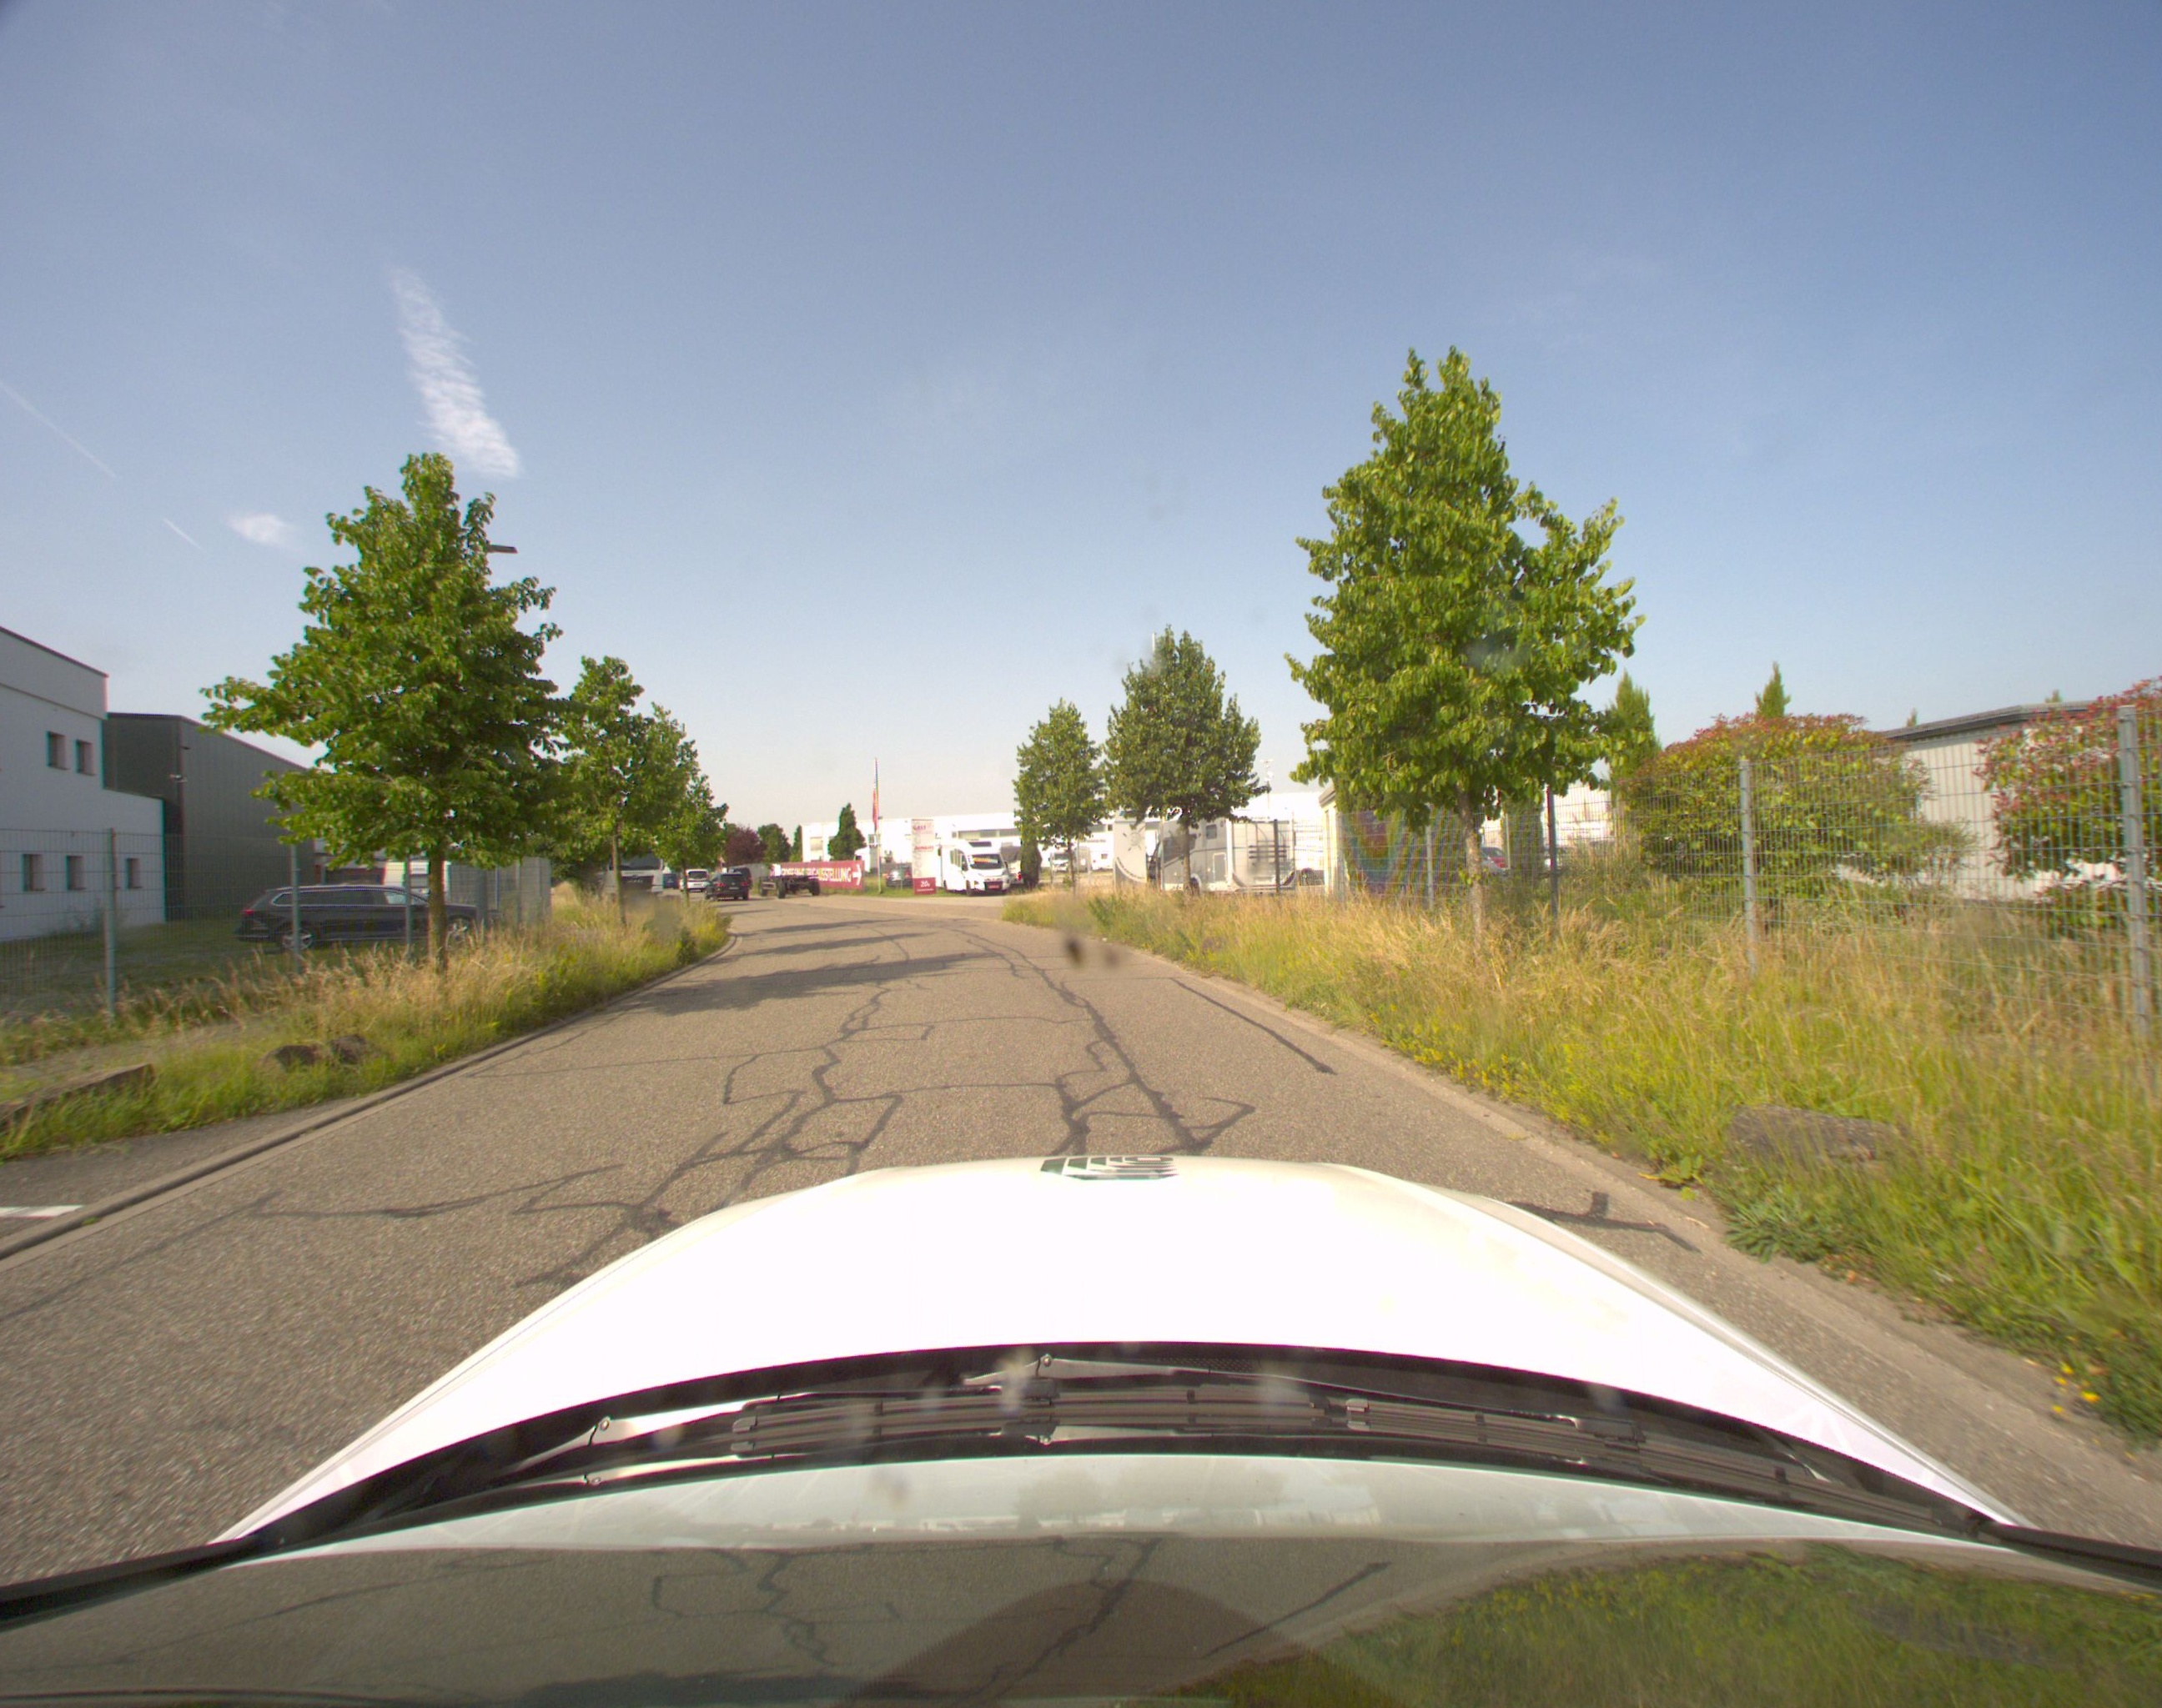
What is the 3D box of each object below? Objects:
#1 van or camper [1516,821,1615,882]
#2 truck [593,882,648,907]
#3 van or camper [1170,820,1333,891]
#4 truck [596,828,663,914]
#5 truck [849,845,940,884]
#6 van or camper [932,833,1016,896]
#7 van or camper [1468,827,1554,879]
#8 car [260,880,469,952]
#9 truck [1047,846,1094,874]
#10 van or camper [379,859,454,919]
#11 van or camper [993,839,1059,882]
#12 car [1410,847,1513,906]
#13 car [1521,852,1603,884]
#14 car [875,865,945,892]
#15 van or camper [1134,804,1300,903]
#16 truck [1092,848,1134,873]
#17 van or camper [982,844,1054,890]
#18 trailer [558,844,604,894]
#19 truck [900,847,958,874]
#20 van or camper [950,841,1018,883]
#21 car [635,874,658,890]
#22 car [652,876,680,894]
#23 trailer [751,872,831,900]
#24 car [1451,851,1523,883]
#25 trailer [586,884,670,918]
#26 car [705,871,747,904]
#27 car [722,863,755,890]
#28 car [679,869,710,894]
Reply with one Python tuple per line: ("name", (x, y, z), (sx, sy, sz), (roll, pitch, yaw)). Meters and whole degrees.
("van or camper", (25.315, -0.067, 42.931), (2.305, 2.864, 6.629), (-2, -1, 11))
("truck", (-28.629, 2.433, 50.494), (2.542, 1.265, 6.459), (-2, 0, -33))
("van or camper", (7.896, 0.097, 38.391), (7.220, 3.032, 2.590), (-2, -1, 6))
("truck", (-24.317, 0.933, 43.527), (2.643, 3.929, 12.789), (-1, -1, -31))
("truck", (-20.116, 1.155, 87.859), (9.225, 3.972, 2.466), (-2, 0, 10))
("van or camper", (-5.651, 0.533, 42.121), (2.342, 2.943, 6.914), (-2, 0, -24))
("van or camper", (23.087, -0.018, 44.098), (2.204, 2.525, 6.629), (-2, -1, 11))
("car", (-16.592, 1.386, 19.101), (3.518, 1.454, 1.579), (0, -1, -35))
("truck", (-0.889, 0.546, 77.118), (2.433, 2.471, 8.032), (-2, 0, 14))
("van or camper", (-30.891, 1.581, 37.998), (2.323, 2.560, 4.899), (-2, -1, -35))
("van or camper", (-4.183, 0.456, 64.207), (2.929, 3.084, 7.997), (-2, 0, 12))
("car", (11.407, 0.633, 24.712), (1.713, 1.643, 4.009), (0, 0, 8))
("car", (21.461, 0.601, 36.527), (1.701, 1.379, 4.008), (0, 0, 7))
("car", (-10.639, 1.517, 50.917), (2.145, 1.476, 4.024), (-2, 0, 28))
("van or camper", (4.258, 0.039, 27.351), (2.355, 2.848, 7.296), (-1, -1, -18))
("truck", (3.159, 0.569, 78.950), (2.433, 2.265, 8.032), (-2, 0, 14))
("van or camper", (-3.724, 0.701, 49.799), (2.466, 2.559, 6.649), (-2, 0, 13))
("trailer", (-48.791, 1.507, 79.414), (3.427, 4.340, 13.777), (-2, -1, -32))
("truck", (-14.827, 0.622, 80.151), (2.433, 2.471, 8.032), (-2, 0, 14))
("van or camper", (-7.559, 0.569, 64.898), (2.779, 3.084, 7.997), (-2, 0, 12))
("car", (-50.559, 3.274, 94.756), (2.007, 1.772, 3.958), (-1, -1, -33))
("car", (-40.640, 3.015, 79.698), (2.007, 1.640, 3.958), (-1, -1, -33))
("trailer", (-18.428, 1.946, 51.256), (2.642, 1.388, 9.357), (-4, 1, -32))
("car", (18.434, 0.557, 37.123), (1.701, 1.379, 4.008), (0, 0, 7))
("trailer", (-18.273, 1.819, 32.709), (2.592, 1.100, 5.147), (-2, 0, -33))
("car", (-21.093, 1.964, 48.315), (2.005, 1.805, 3.964), (-2, -1, -27))
("car", (-27.793, 1.781, 66.038), (1.831, 1.978, 3.961), (-5, 2, -31))
("car", (-31.293, 2.174, 65.868), (2.005, 1.899, 4.426), (-1, 0, -29))
